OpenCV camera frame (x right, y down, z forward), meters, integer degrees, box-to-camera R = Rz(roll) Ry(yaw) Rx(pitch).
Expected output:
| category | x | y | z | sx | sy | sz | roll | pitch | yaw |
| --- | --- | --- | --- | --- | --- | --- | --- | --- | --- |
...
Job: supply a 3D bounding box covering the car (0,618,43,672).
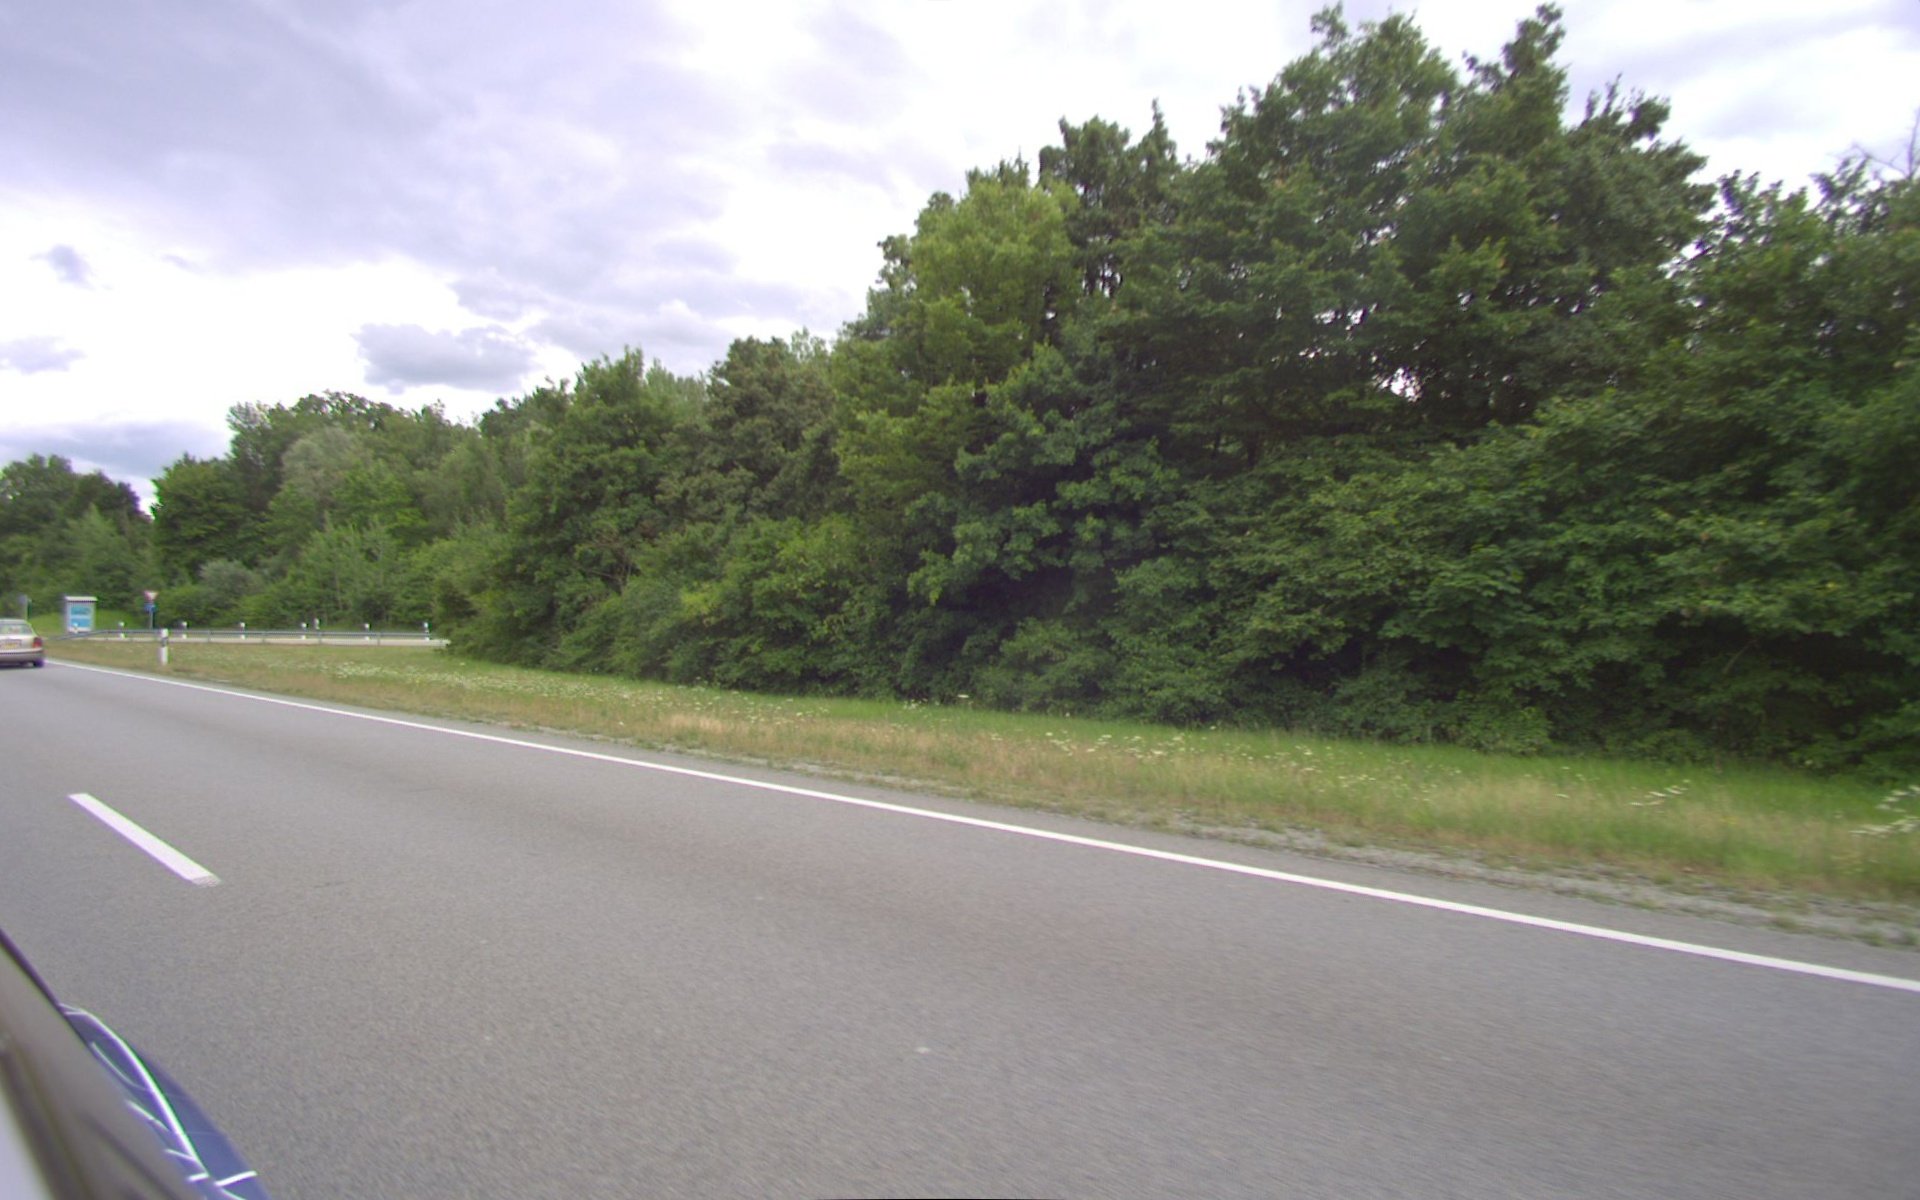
| category | x | y | z | sx | sy | sz | roll | pitch | yaw |
| --- | --- | --- | --- | --- | --- | --- | --- | --- | --- |
| car | -28.060 | 1.277 | 29.305 | 4.500 | 1.445 | 1.708 | -1 | 0 | 41 |
